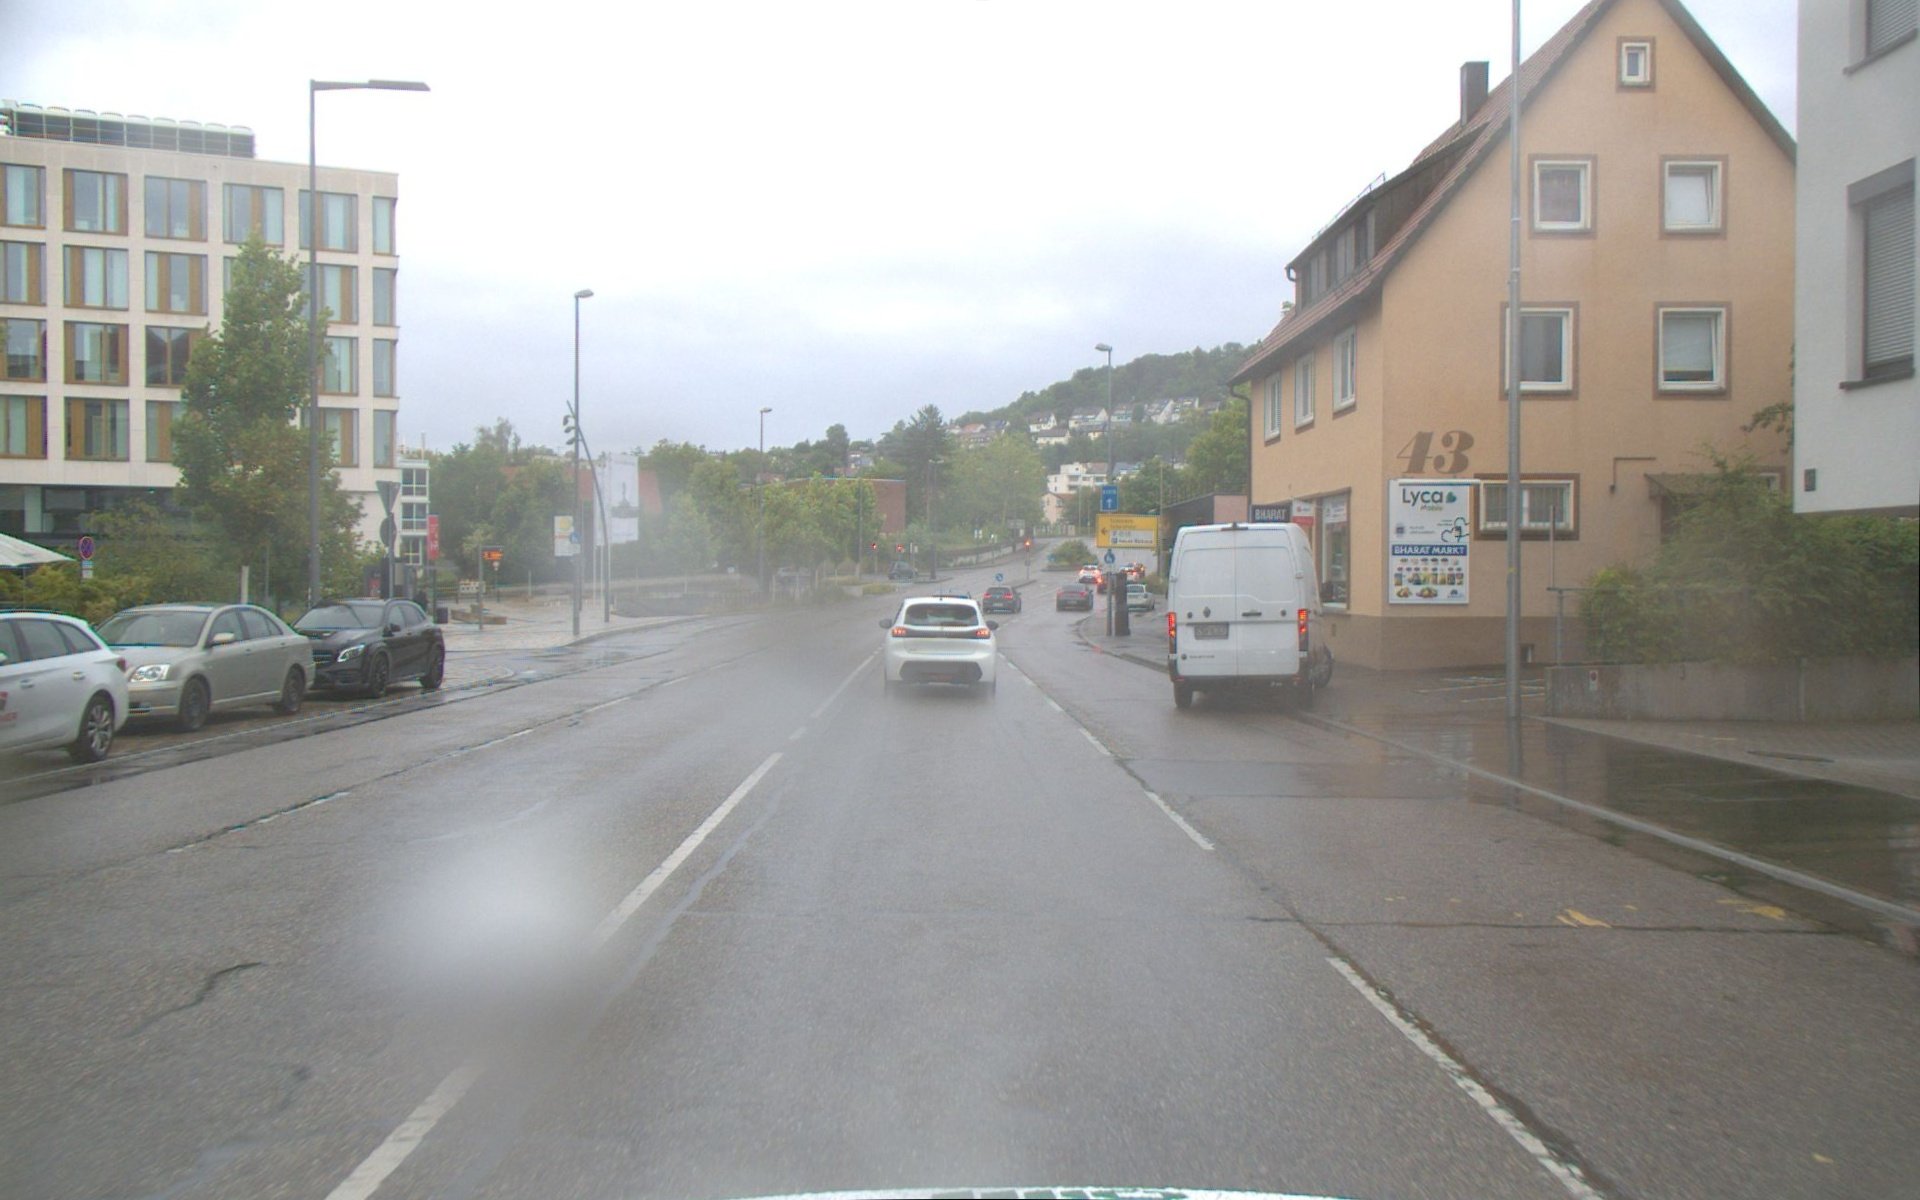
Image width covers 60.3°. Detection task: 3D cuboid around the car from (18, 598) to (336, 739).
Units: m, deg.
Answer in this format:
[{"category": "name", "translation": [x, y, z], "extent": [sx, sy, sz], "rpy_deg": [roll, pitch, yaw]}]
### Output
[{"category": "car", "translation": [-9.534, 0.795, 20.593], "extent": [1.656, 1.536, 4.578], "rpy_deg": [-1, -1, 2]}]

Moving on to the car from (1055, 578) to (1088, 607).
[{"category": "car", "translation": [6.384, -0.459, 94.712], "extent": [1.698, 1.411, 3.354], "rpy_deg": [1, 4, 1]}]

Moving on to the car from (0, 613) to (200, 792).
[{"category": "car", "translation": [-8.922, 0.883, 15.438], "extent": [1.759, 1.488, 4.475], "rpy_deg": [0, -1, -3]}]

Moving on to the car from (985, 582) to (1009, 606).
[{"category": "car", "translation": [1.967, -0.317, 87.804], "extent": [1.187, 1.176, 2.271], "rpy_deg": [-1, -1, 2]}]

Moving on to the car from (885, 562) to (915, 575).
[{"category": "car", "translation": [-5.461, -2.900, 151.431], "extent": [2.392, 1.177, 1.358], "rpy_deg": [0, -1, -29]}]

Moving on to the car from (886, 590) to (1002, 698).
[{"category": "car", "translation": [-0.266, 0.637, 25.766], "extent": [1.656, 1.546, 3.932], "rpy_deg": [0, 0, -1]}]

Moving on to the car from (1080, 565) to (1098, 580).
[{"category": "car", "translation": [10.834, -2.350, 139.403], "extent": [1.356, 1.146, 2.610], "rpy_deg": [-1, -1, 2]}]

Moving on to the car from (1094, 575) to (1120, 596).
[{"category": "car", "translation": [11.116, -1.094, 125.048], "extent": [1.614, 1.511, 3.365], "rpy_deg": [-1, -1, -1]}]

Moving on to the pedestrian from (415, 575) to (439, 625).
[{"category": "pedestrian", "translation": [-19.299, 0.003, 59.939], "extent": [0.769, 1.776, 0.671], "rpy_deg": [-1, -1, -15]}]

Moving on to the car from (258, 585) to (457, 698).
[{"category": "car", "translation": [-9.397, 0.572, 26.182], "extent": [1.555, 1.610, 4.470], "rpy_deg": [-1, 1, -1]}]

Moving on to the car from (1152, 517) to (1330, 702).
[{"category": "car", "translation": [4.455, 0.185, 25.267], "extent": [2.242, 2.424, 6.630], "rpy_deg": [-1, -1, 13]}]

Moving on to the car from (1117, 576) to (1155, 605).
[{"category": "car", "translation": [9.859, -0.549, 92.684], "extent": [1.693, 1.523, 4.485], "rpy_deg": [-1, 1, 11]}]

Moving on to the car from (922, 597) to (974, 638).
[{"category": "car", "translation": [-0.394, 0.583, 56.437], "extent": [1.706, 1.318, 3.334], "rpy_deg": [-1, 0, 0]}]
